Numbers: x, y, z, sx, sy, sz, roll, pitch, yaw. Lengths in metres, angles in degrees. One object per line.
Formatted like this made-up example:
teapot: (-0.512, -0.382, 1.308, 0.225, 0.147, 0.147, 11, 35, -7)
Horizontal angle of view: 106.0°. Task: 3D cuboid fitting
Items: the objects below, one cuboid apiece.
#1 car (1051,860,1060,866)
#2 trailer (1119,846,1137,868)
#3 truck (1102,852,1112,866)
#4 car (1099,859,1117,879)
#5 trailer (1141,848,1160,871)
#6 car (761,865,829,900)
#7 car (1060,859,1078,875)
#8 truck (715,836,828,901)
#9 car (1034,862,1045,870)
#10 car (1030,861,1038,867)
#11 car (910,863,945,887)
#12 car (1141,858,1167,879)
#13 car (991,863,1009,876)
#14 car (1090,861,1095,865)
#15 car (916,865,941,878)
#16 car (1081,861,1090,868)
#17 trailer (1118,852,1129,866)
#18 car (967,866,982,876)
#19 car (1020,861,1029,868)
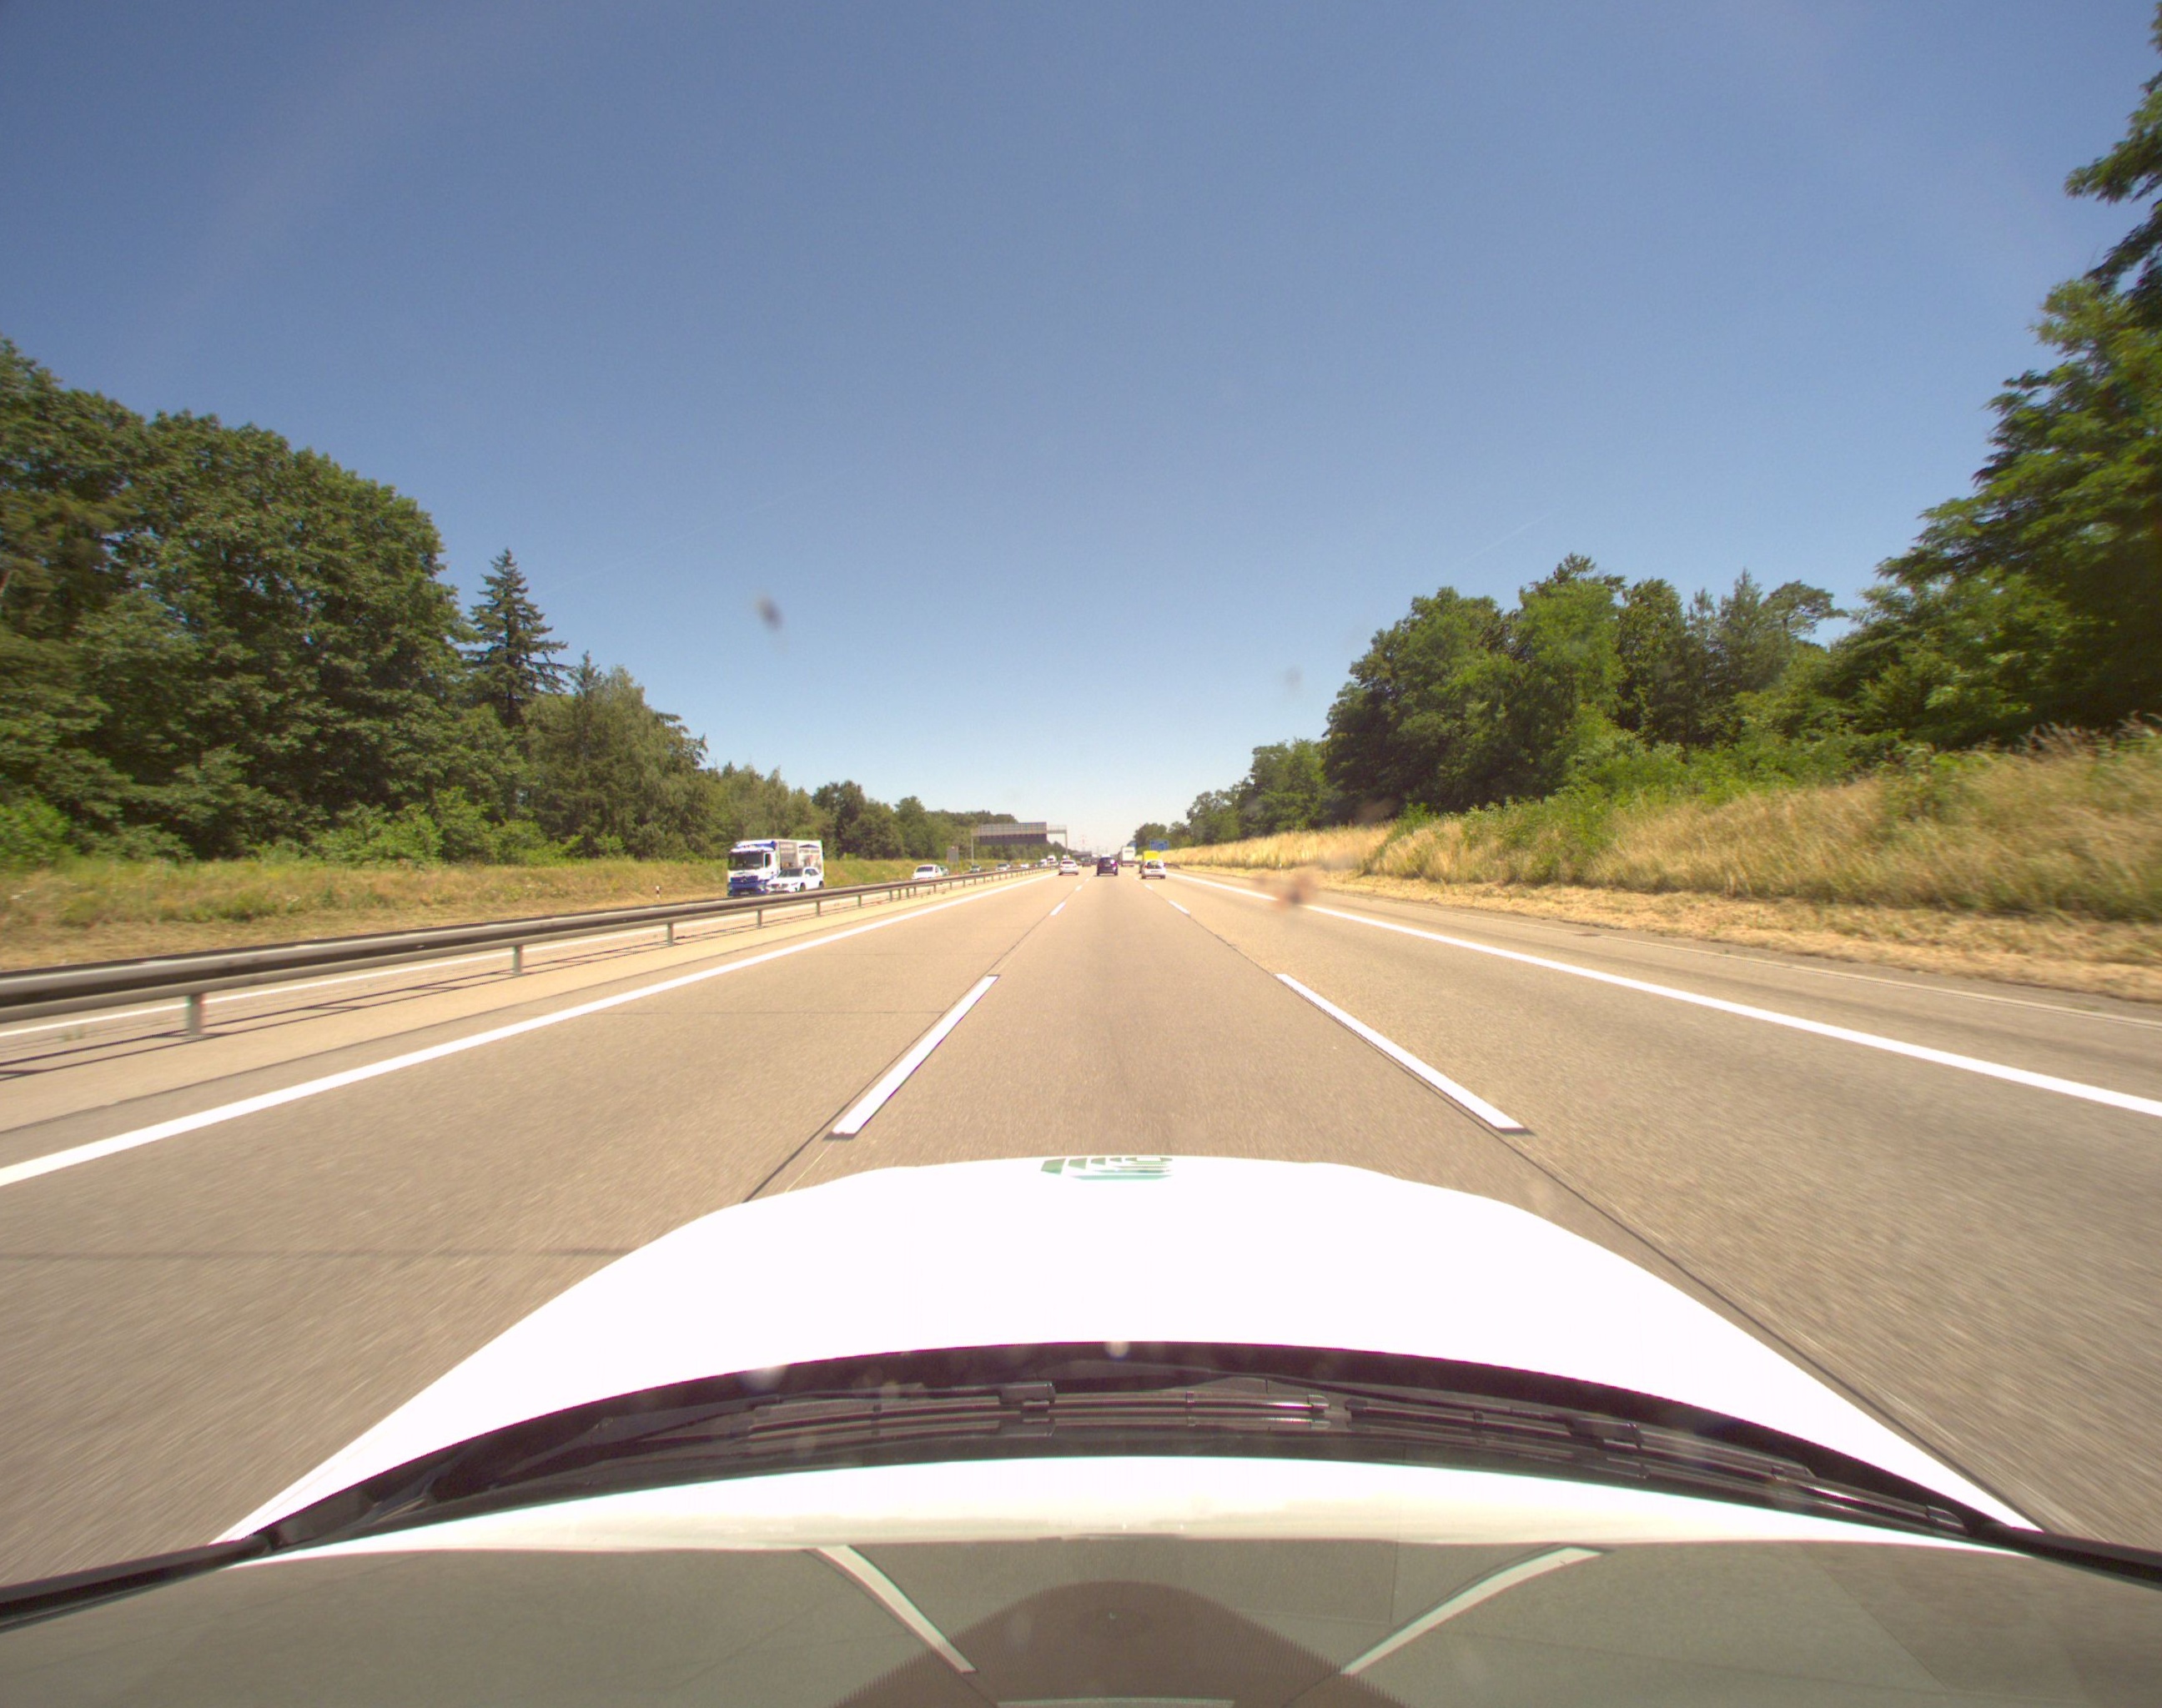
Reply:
car: (-6.115, 2.146, 197.879, 1.788, 1.474, 4.987, -4, -1, 1)
trailer: (9.584, 0.678, 166.265, 3.274, 4.219, 13.568, 0, -1, 1)
truck: (5.779, 1.205, 178.761, 2.053, 2.914, 7.005, -1, -1, 1)
car: (2.475, 1.355, 74.766, 1.620, 1.755, 3.806, -1, -1, 2)
trailer: (7.101, 0.572, 83.299, 1.697, 2.290, 3.840, -1, -1, 1)
car: (-15.465, 1.485, 44.320, 1.721, 1.646, 5.089, -4, -1, 1)
car: (-1.170, 1.244, 79.393, 1.663, 1.401, 3.713, -2, 0, 0)
truck: (-19.311, 0.878, 51.781, 2.722, 3.518, 10.444, -4, -1, 1)
car: (-8.215, 2.265, 160.424, 1.692, 1.429, 4.574, -4, -1, 1)
car: (-13.764, 3.048, 238.070, 1.640, 1.591, 4.613, -4, 0, 2)
car: (-10.542, 1.441, 56.086, 1.511, 1.467, 3.641, -4, -1, 1)
car: (5.499, 1.054, 61.597, 1.702, 1.495, 4.025, -1, -1, 2)
car: (-10.840, 2.064, 109.335, 1.755, 1.459, 5.121, -4, -1, 1)
car: (3.065, 2.388, 214.899, 1.400, 1.131, 3.359, -1, -1, 2)
car: (-17.877, 2.048, 95.568, 1.648, 1.411, 5.178, -4, 0, 2)
car: (0.887, 2.084, 165.137, 1.601, 1.300, 3.675, -1, -1, 2)
trailer: (11.416, 1.415, 221.256, 2.673, 3.837, 12.013, 0, -1, 1)
car: (-17.452, 2.796, 133.701, 1.665, 1.410, 4.598, -4, -1, 1)
car: (-14.216, 2.681, 205.661, 1.788, 1.516, 4.904, -4, -1, 1)
